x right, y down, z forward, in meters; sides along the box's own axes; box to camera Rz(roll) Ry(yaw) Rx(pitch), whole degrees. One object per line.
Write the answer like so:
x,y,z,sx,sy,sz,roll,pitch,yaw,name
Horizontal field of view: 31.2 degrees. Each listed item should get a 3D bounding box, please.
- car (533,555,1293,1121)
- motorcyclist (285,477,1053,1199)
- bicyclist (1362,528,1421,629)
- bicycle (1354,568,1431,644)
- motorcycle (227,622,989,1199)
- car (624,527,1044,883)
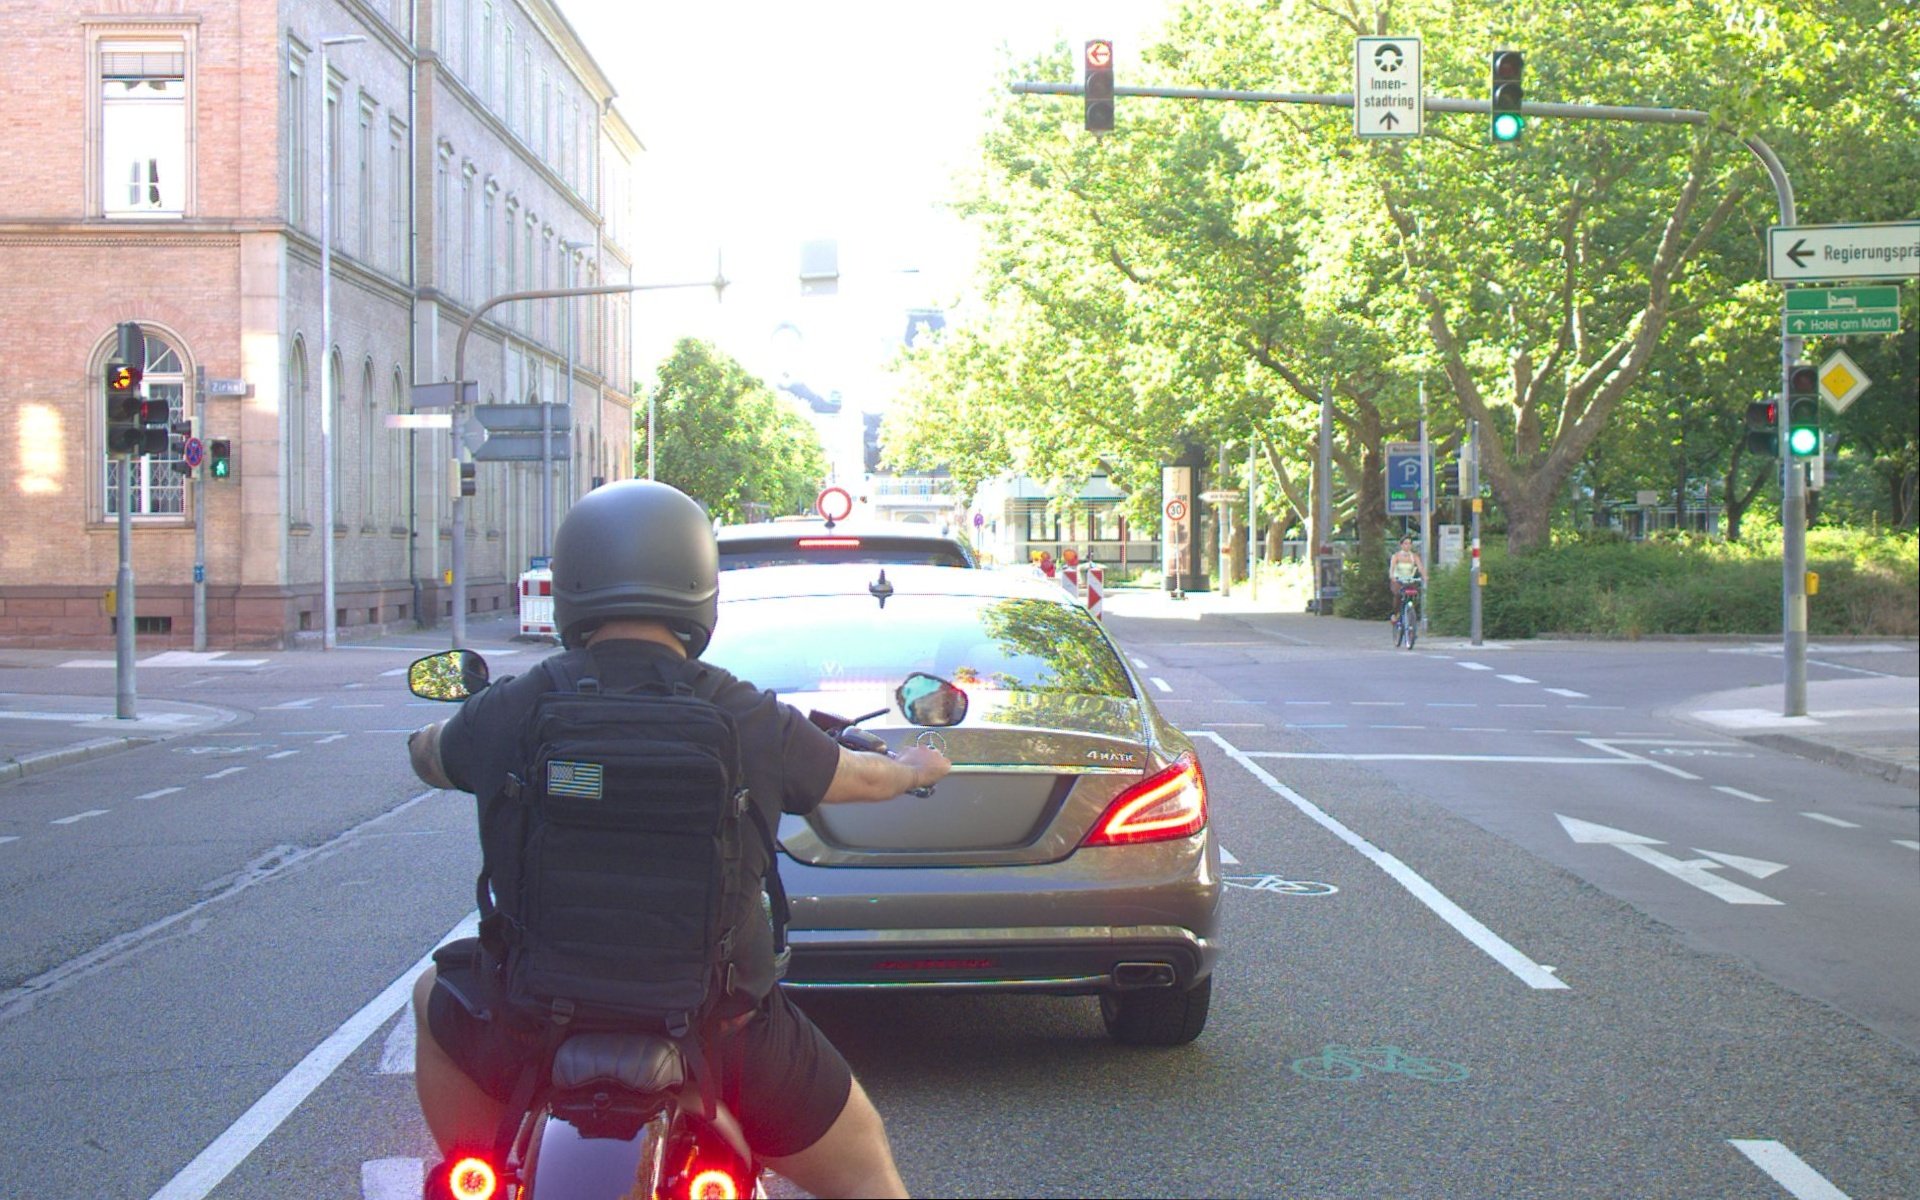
-0.371,0.585,11.129,1.901,1.436,4.290,0,1,-8,car
-0.416,0.619,5.270,1.061,1.577,0.908,1,0,-1,motorcyclist
6.813,-0.337,54.307,0.716,1.577,0.936,1,0,-6,bicyclist
6.805,0.082,54.238,0.715,1.168,2.176,1,1,-6,bicycle
-0.466,0.737,5.542,0.962,1.352,2.320,1,1,-1,motorcycle
-0.648,0.417,16.773,1.813,1.530,3.849,0,1,-3,car
